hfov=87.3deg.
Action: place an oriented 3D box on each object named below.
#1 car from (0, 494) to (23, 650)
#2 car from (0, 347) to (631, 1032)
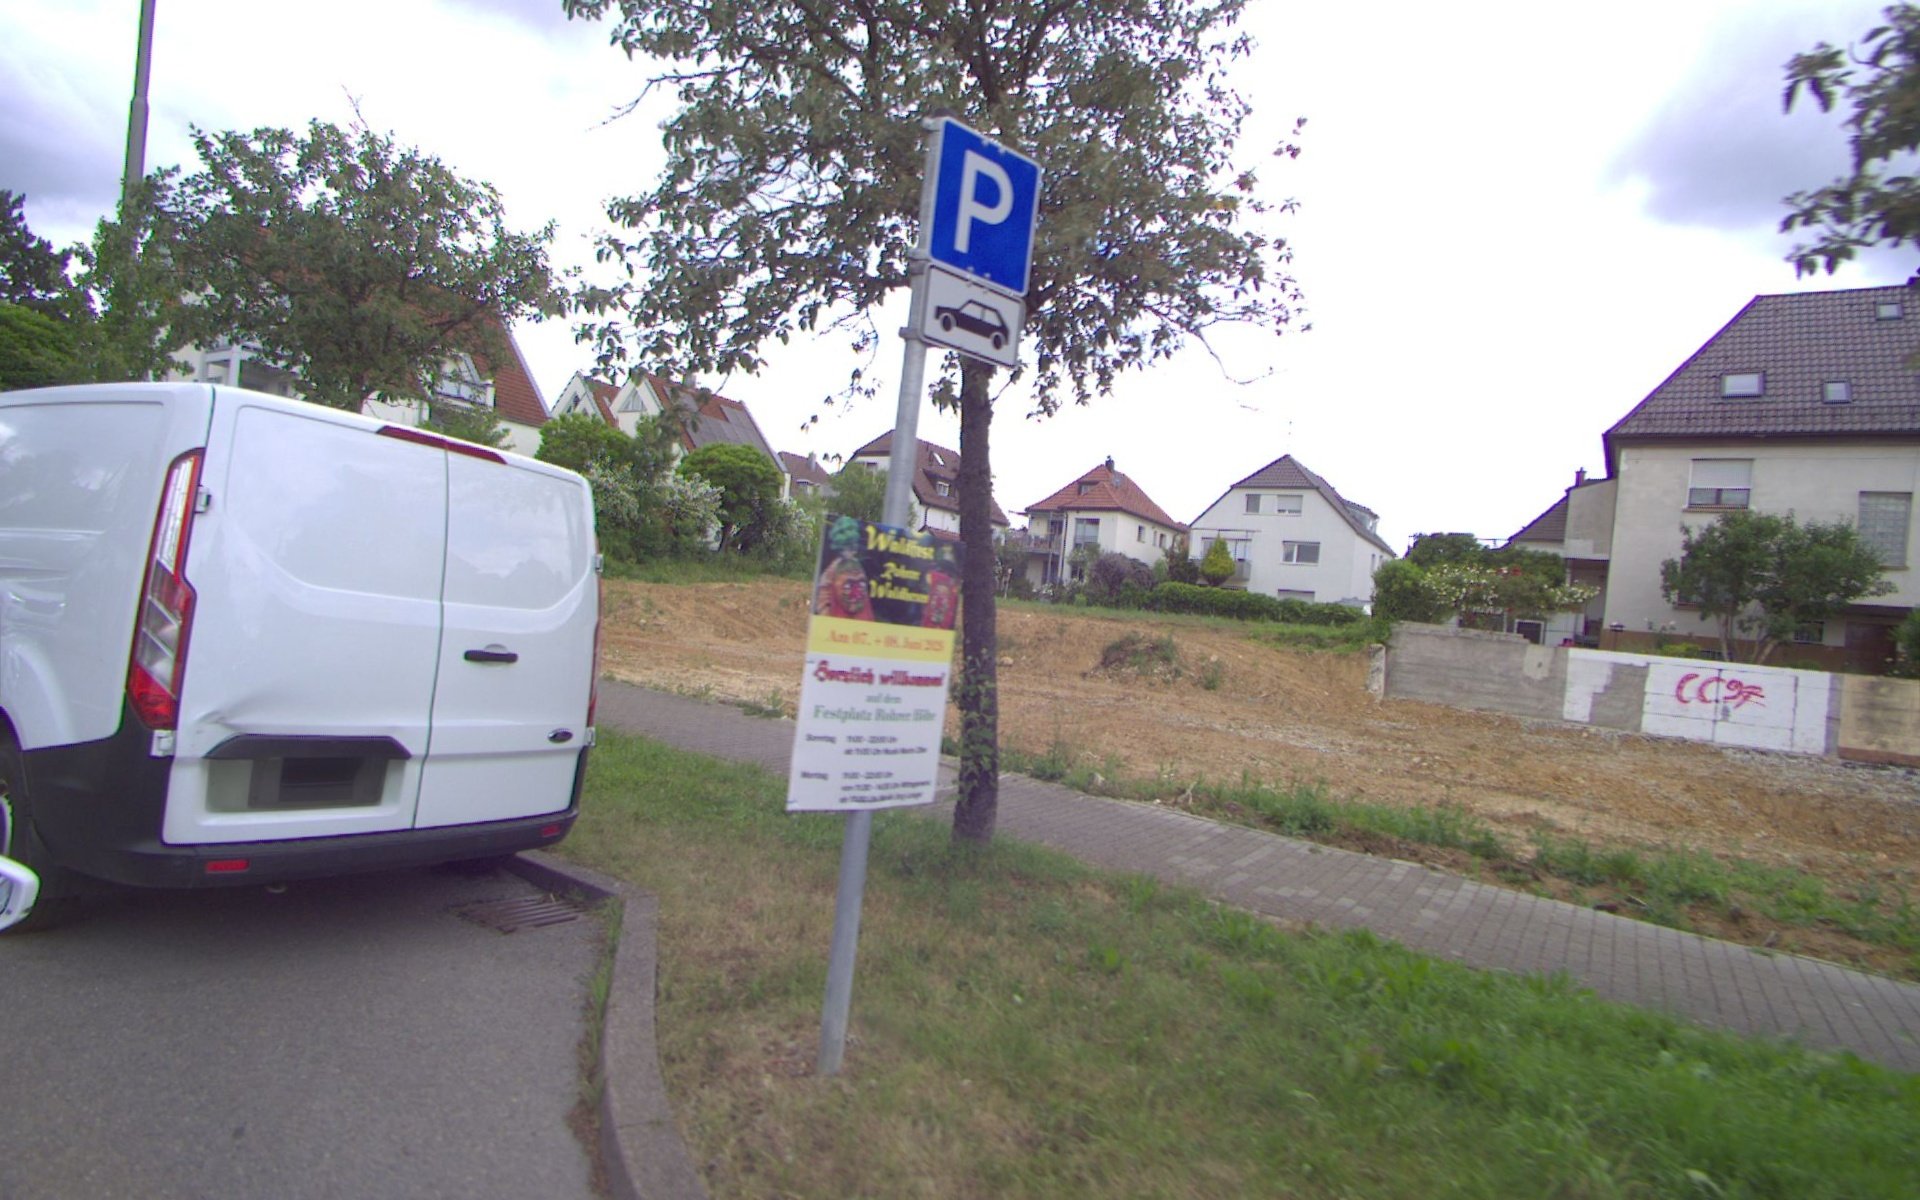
[{"bbox_3d":[-11.612,-0.544,10.449,4.151,1.534,1.667,7,-1,33],"label":"car"},{"bbox_3d":[-3.975,0.112,4.910,4.711,1.966,1.777,7,-1,33],"label":"car"}]
